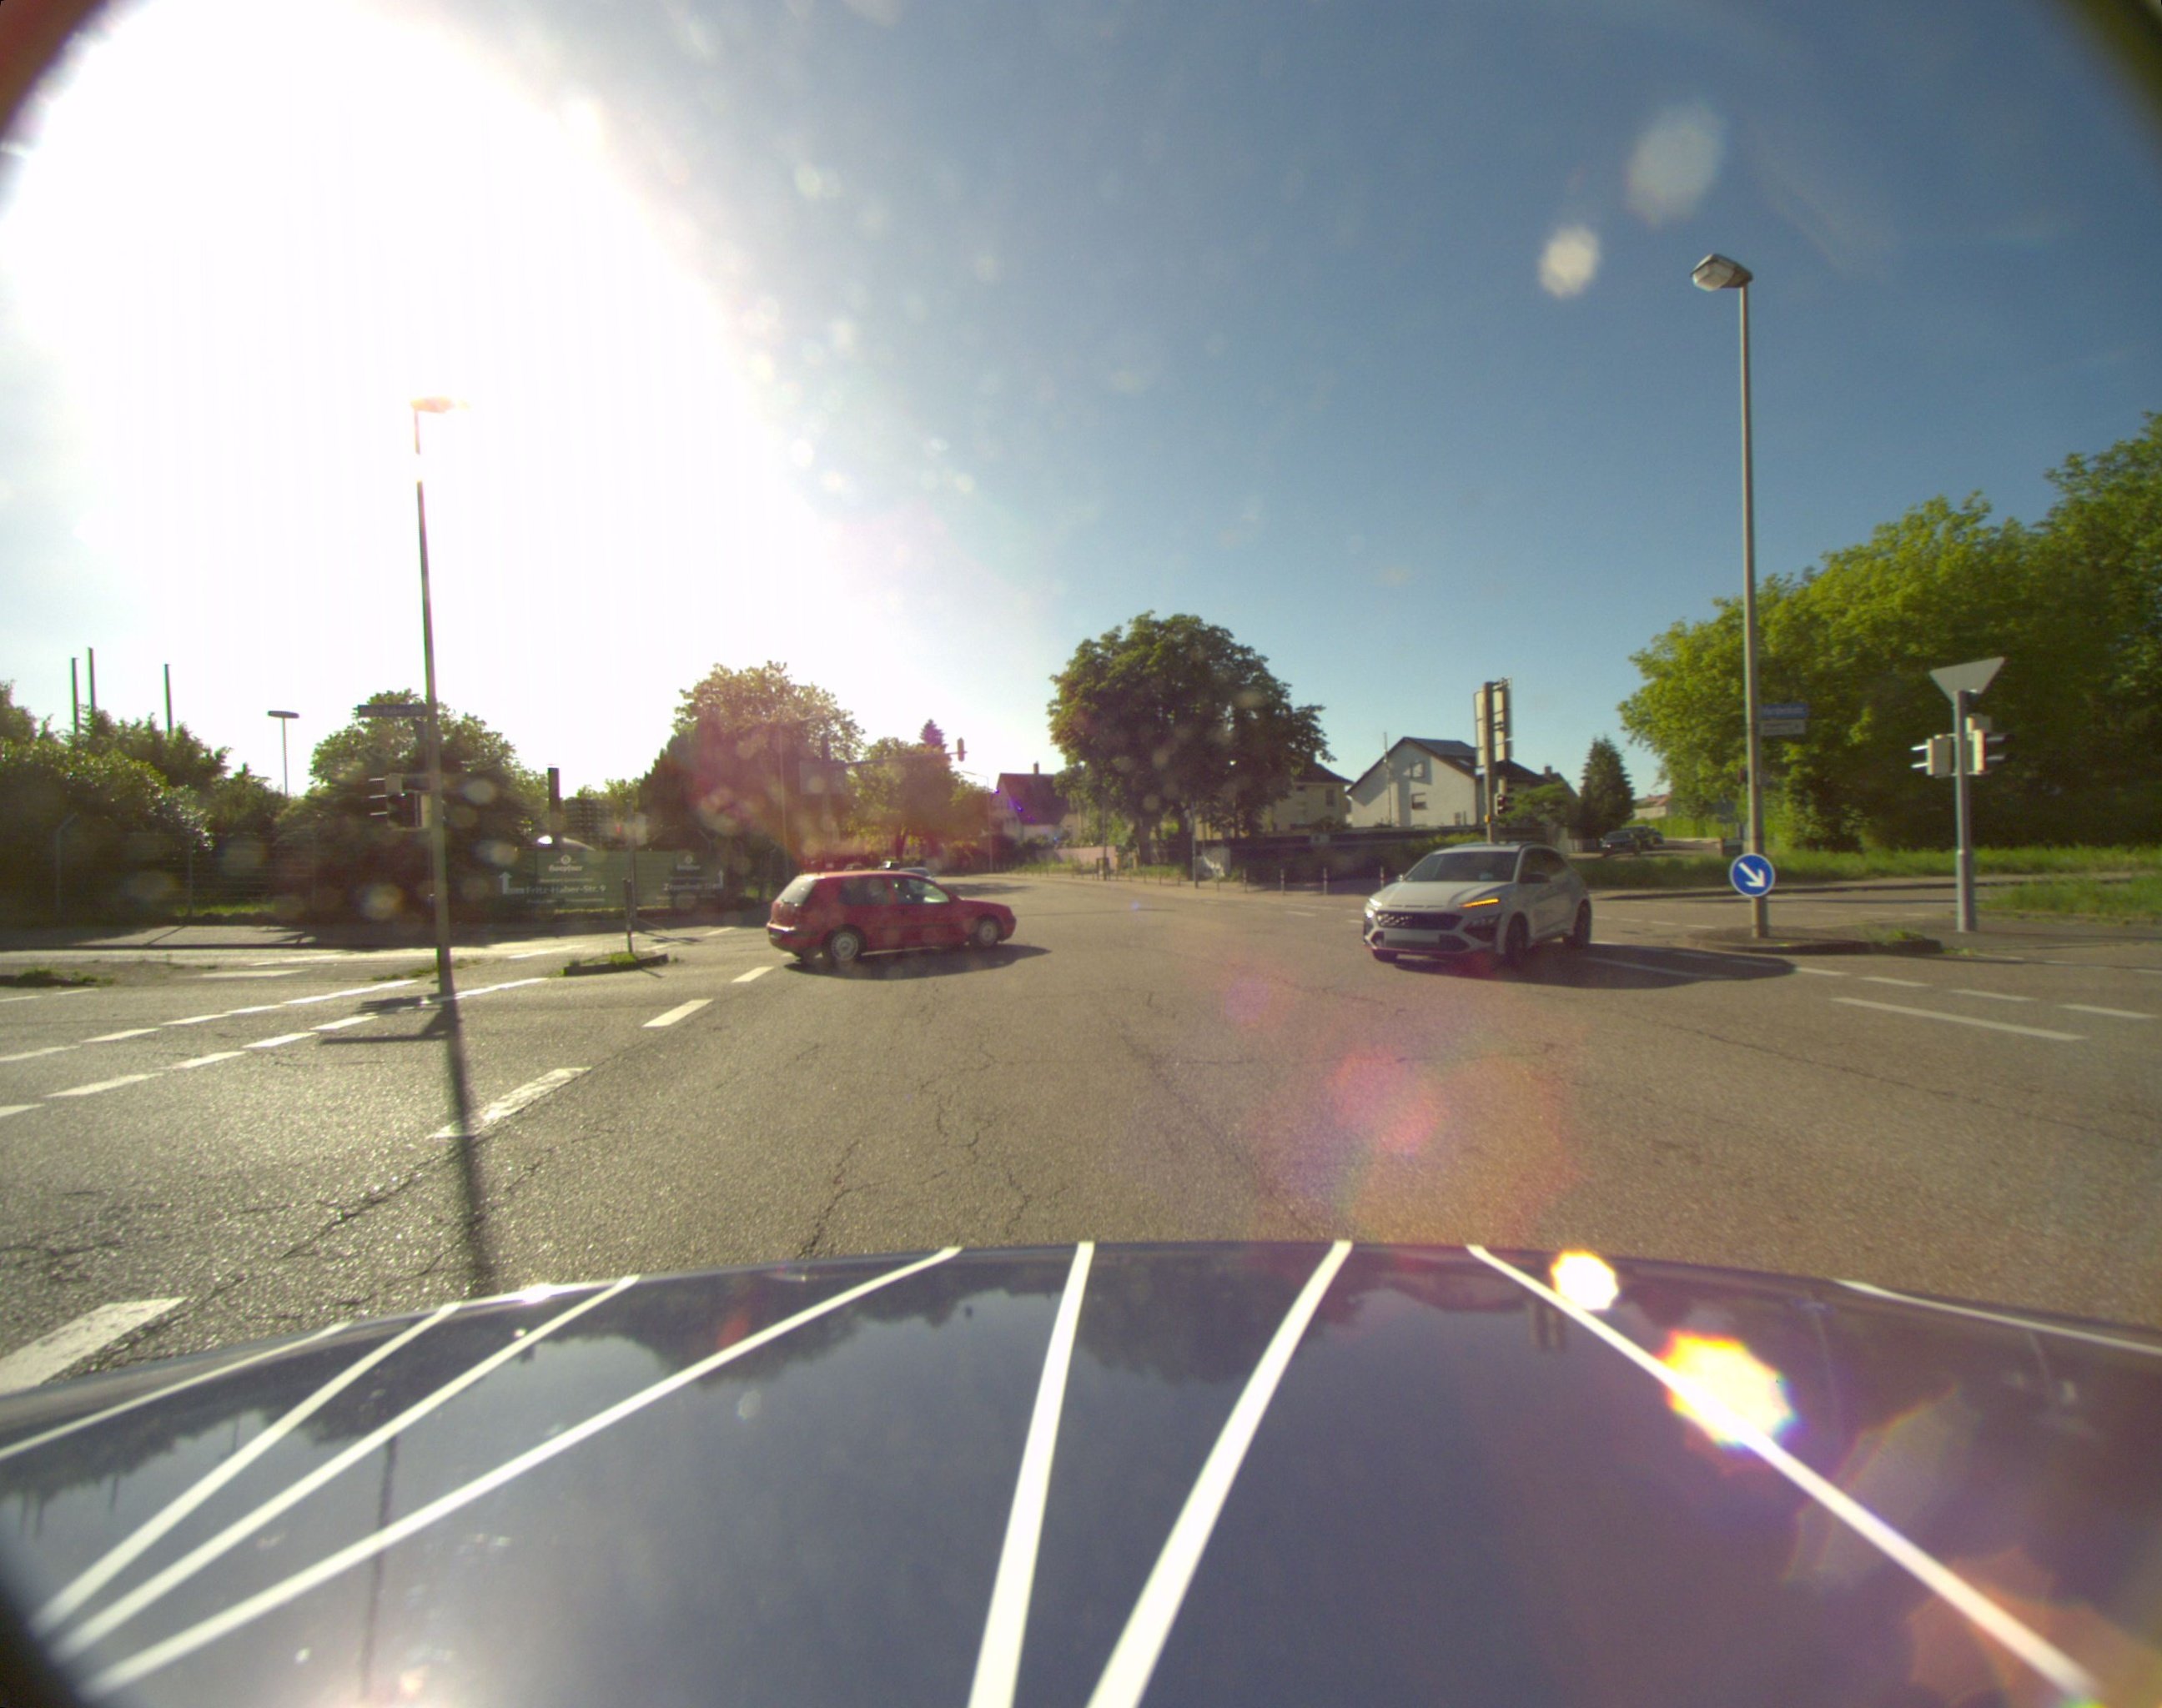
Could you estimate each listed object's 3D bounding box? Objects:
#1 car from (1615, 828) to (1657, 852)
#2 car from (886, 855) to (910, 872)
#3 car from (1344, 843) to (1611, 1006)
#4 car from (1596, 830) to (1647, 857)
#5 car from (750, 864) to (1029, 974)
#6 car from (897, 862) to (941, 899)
[{"bbox_3d":[41.306,-1.077,56.499,1.958,1.656,4.008,-1,1,44],"label":"car"},{"bbox_3d":[-19.116,1.018,79.123,1.864,1.625,4.249,-2,0,-21],"label":"car"},{"bbox_3d":[5.539,0.795,10.399,4.061,1.636,1.712,-4,1,-39],"label":"car"},{"bbox_3d":[33.898,-0.681,47.608,1.995,1.547,4.008,-3,-1,44],"label":"car"},{"bbox_3d":[-3.129,0.957,12.831,4.146,1.461,1.858,-1,1,-39],"label":"car"},{"bbox_3d":[-7.692,1.177,35.727,1.811,1.523,4.509,-2,1,-14],"label":"car"}]
